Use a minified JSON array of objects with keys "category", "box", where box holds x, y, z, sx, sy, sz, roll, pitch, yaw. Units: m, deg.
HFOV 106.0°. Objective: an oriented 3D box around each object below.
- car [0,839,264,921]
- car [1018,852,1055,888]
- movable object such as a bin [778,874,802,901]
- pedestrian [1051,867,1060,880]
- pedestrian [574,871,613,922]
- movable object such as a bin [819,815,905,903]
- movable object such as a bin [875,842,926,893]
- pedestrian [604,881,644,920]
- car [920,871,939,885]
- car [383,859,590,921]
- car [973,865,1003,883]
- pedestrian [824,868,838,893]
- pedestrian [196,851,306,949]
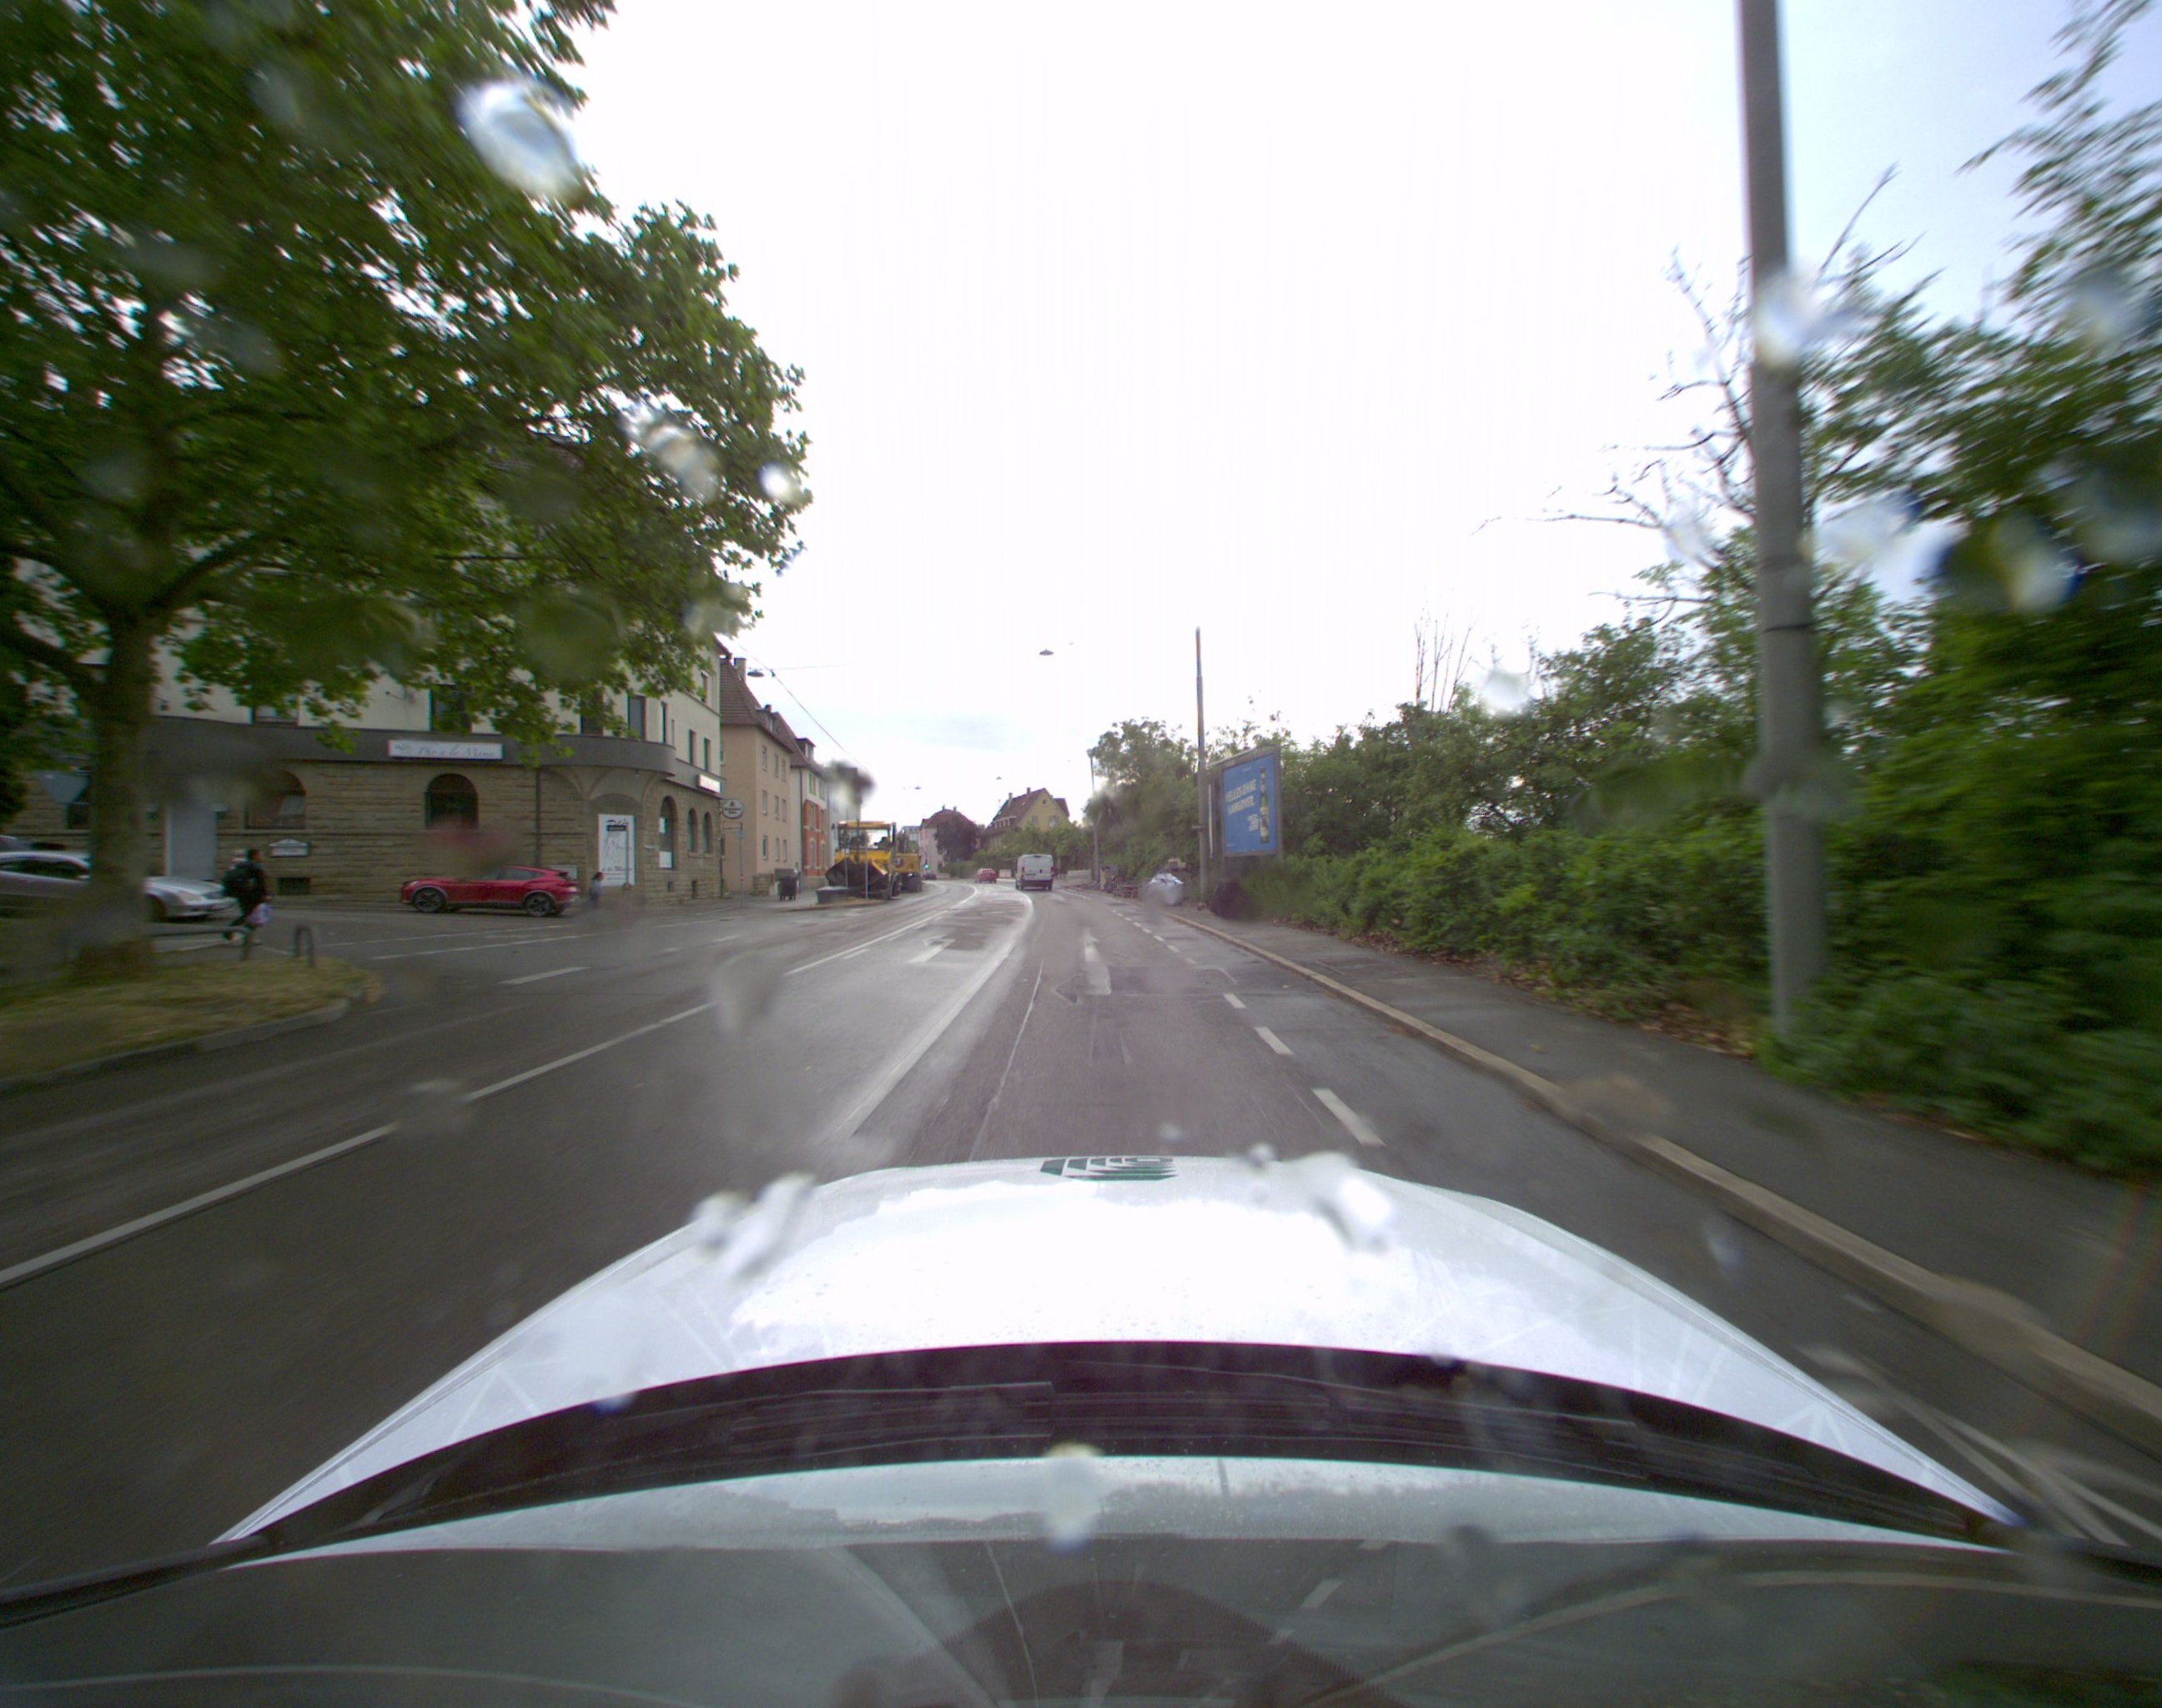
[{"category":"car","box":[-20.890,0.539,17.450,4.262,1.385,1.876,5,-1,-17]},{"category":"car","box":[-2.961,0.989,53.059,2.234,2.213,4.704,0,1,-6]},{"category":"movable object such as a bin","box":[-14.094,1.592,39.456,0.896,1.222,1.192,0,1,-32]},{"category":"pedestrian","box":[-2.724,2.107,86.798,0.877,1.367,1.063,0,1,-6]},{"category":"pedestrian","box":[-14.117,1.212,23.584,0.812,1.401,0.773,0,1,-44]},{"category":"movable object such as a bin","box":[-10.236,0.176,38.652,2.769,3.855,5.980,0,1,-4]},{"category":"movable object such as a bin","box":[-11.779,0.835,53.522,2.869,3.173,4.115,0,1,-7]},{"category":"pedestrian","box":[-13.864,1.399,24.715,0.735,1.124,0.736,0,1,24]},{"category":"car","box":[-22.906,3.578,123.034,2.244,1.804,4.683,0,1,-19]},{"category":"car","box":[-17.630,1.089,24.454,4.546,1.574,1.923,4,-1,-21]},{"category":"car","box":[-9.518,1.996,83.062,2.243,1.656,4.685,0,1,-18]},{"category":"pedestrian","box":[-16.721,1.771,54.524,0.764,1.588,1.088,0,1,-9]},{"category":"pedestrian","box":[-14.430,0.767,14.194,0.883,1.630,0.996,0,0,3]}]
